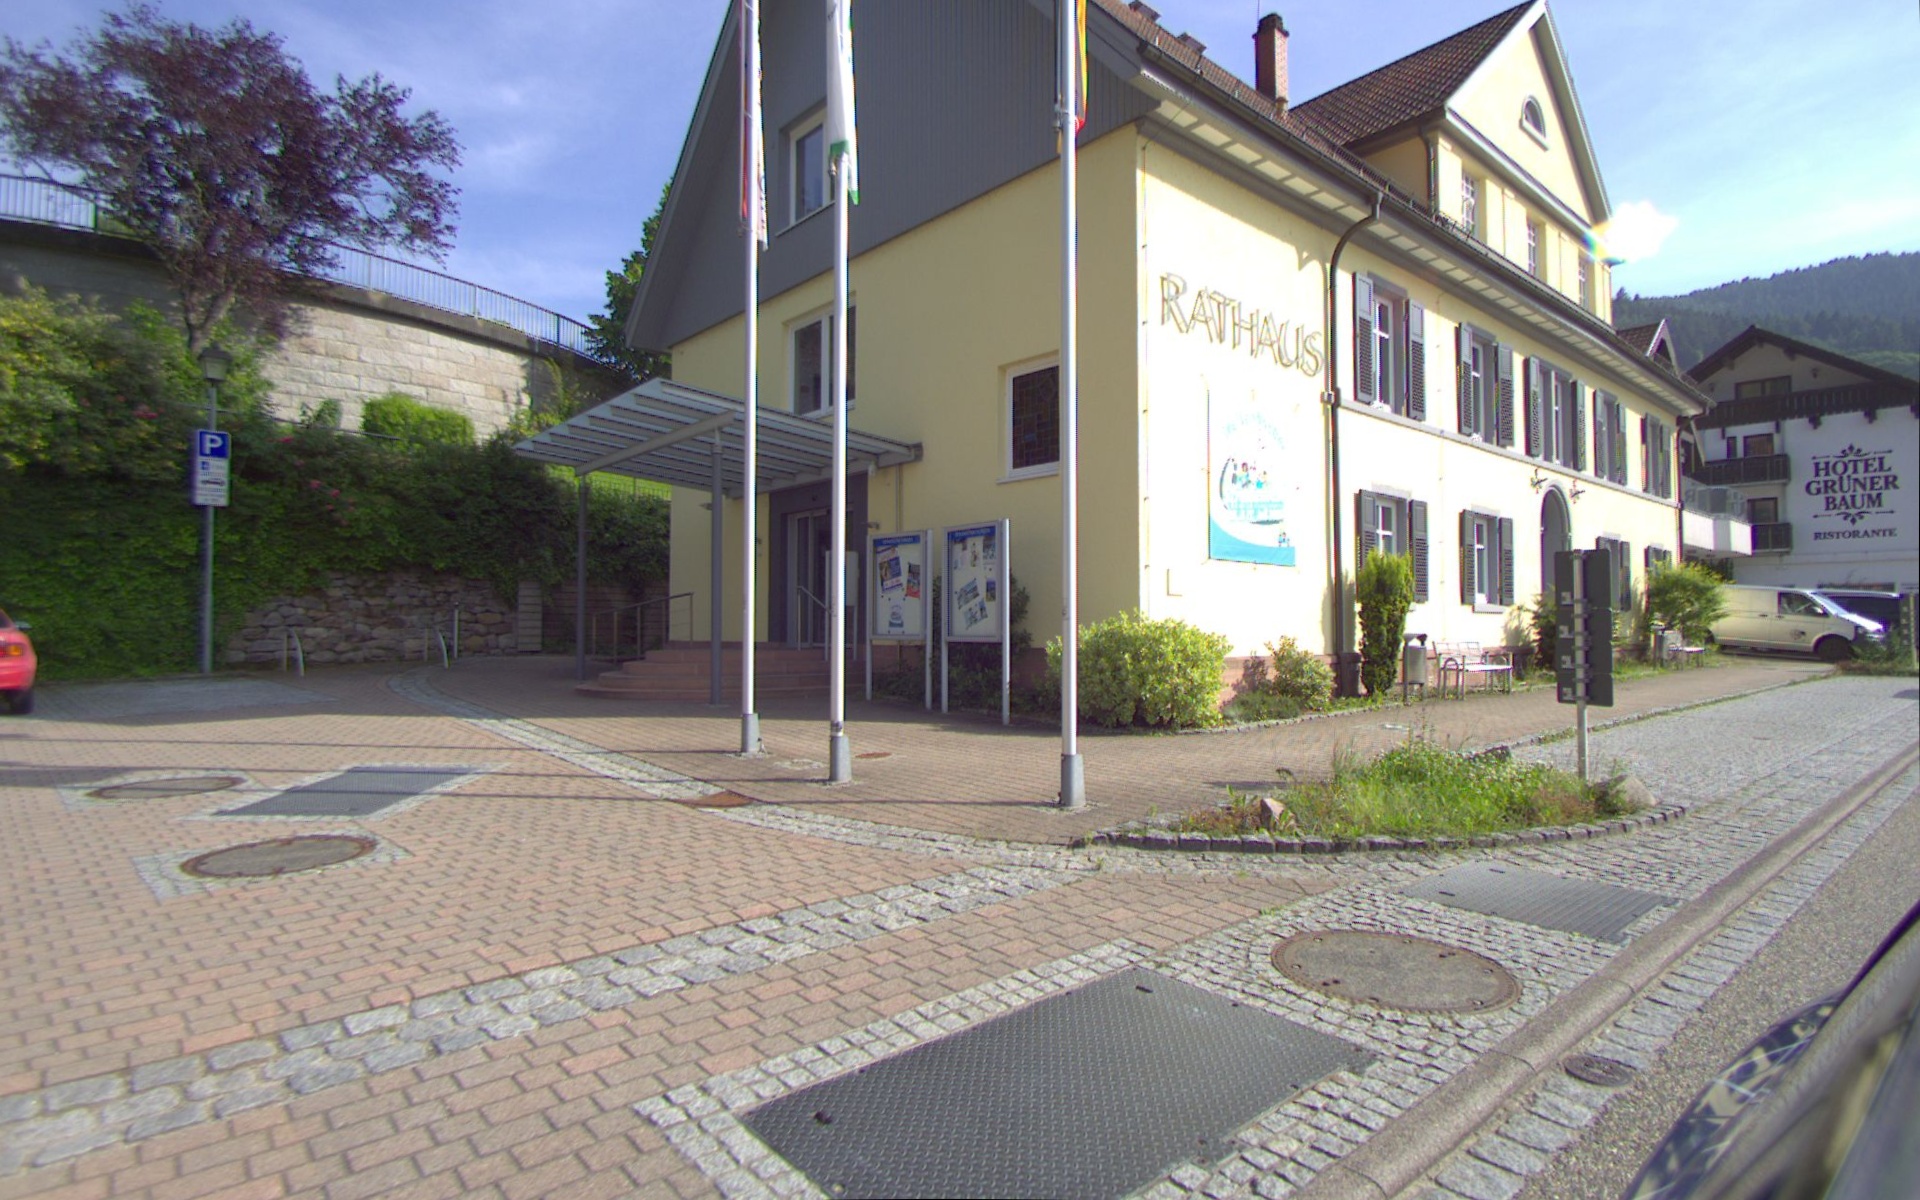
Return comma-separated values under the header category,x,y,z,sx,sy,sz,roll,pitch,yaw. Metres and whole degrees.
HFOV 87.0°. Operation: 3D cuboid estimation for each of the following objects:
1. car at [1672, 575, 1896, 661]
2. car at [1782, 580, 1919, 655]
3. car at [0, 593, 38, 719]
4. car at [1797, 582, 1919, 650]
category,x,y,z,sx,sy,sz,roll,pitch,yaw
car,22.586,0.425,27.901,1.682,1.982,4.456,1,3,-38
car,25.660,0.471,28.404,1.346,1.916,3.757,1,2,-38
car,-12.047,0.597,11.845,1.729,1.305,3.885,0,1,-45
car,27.635,0.465,30.047,1.654,1.905,3.998,1,1,-38
